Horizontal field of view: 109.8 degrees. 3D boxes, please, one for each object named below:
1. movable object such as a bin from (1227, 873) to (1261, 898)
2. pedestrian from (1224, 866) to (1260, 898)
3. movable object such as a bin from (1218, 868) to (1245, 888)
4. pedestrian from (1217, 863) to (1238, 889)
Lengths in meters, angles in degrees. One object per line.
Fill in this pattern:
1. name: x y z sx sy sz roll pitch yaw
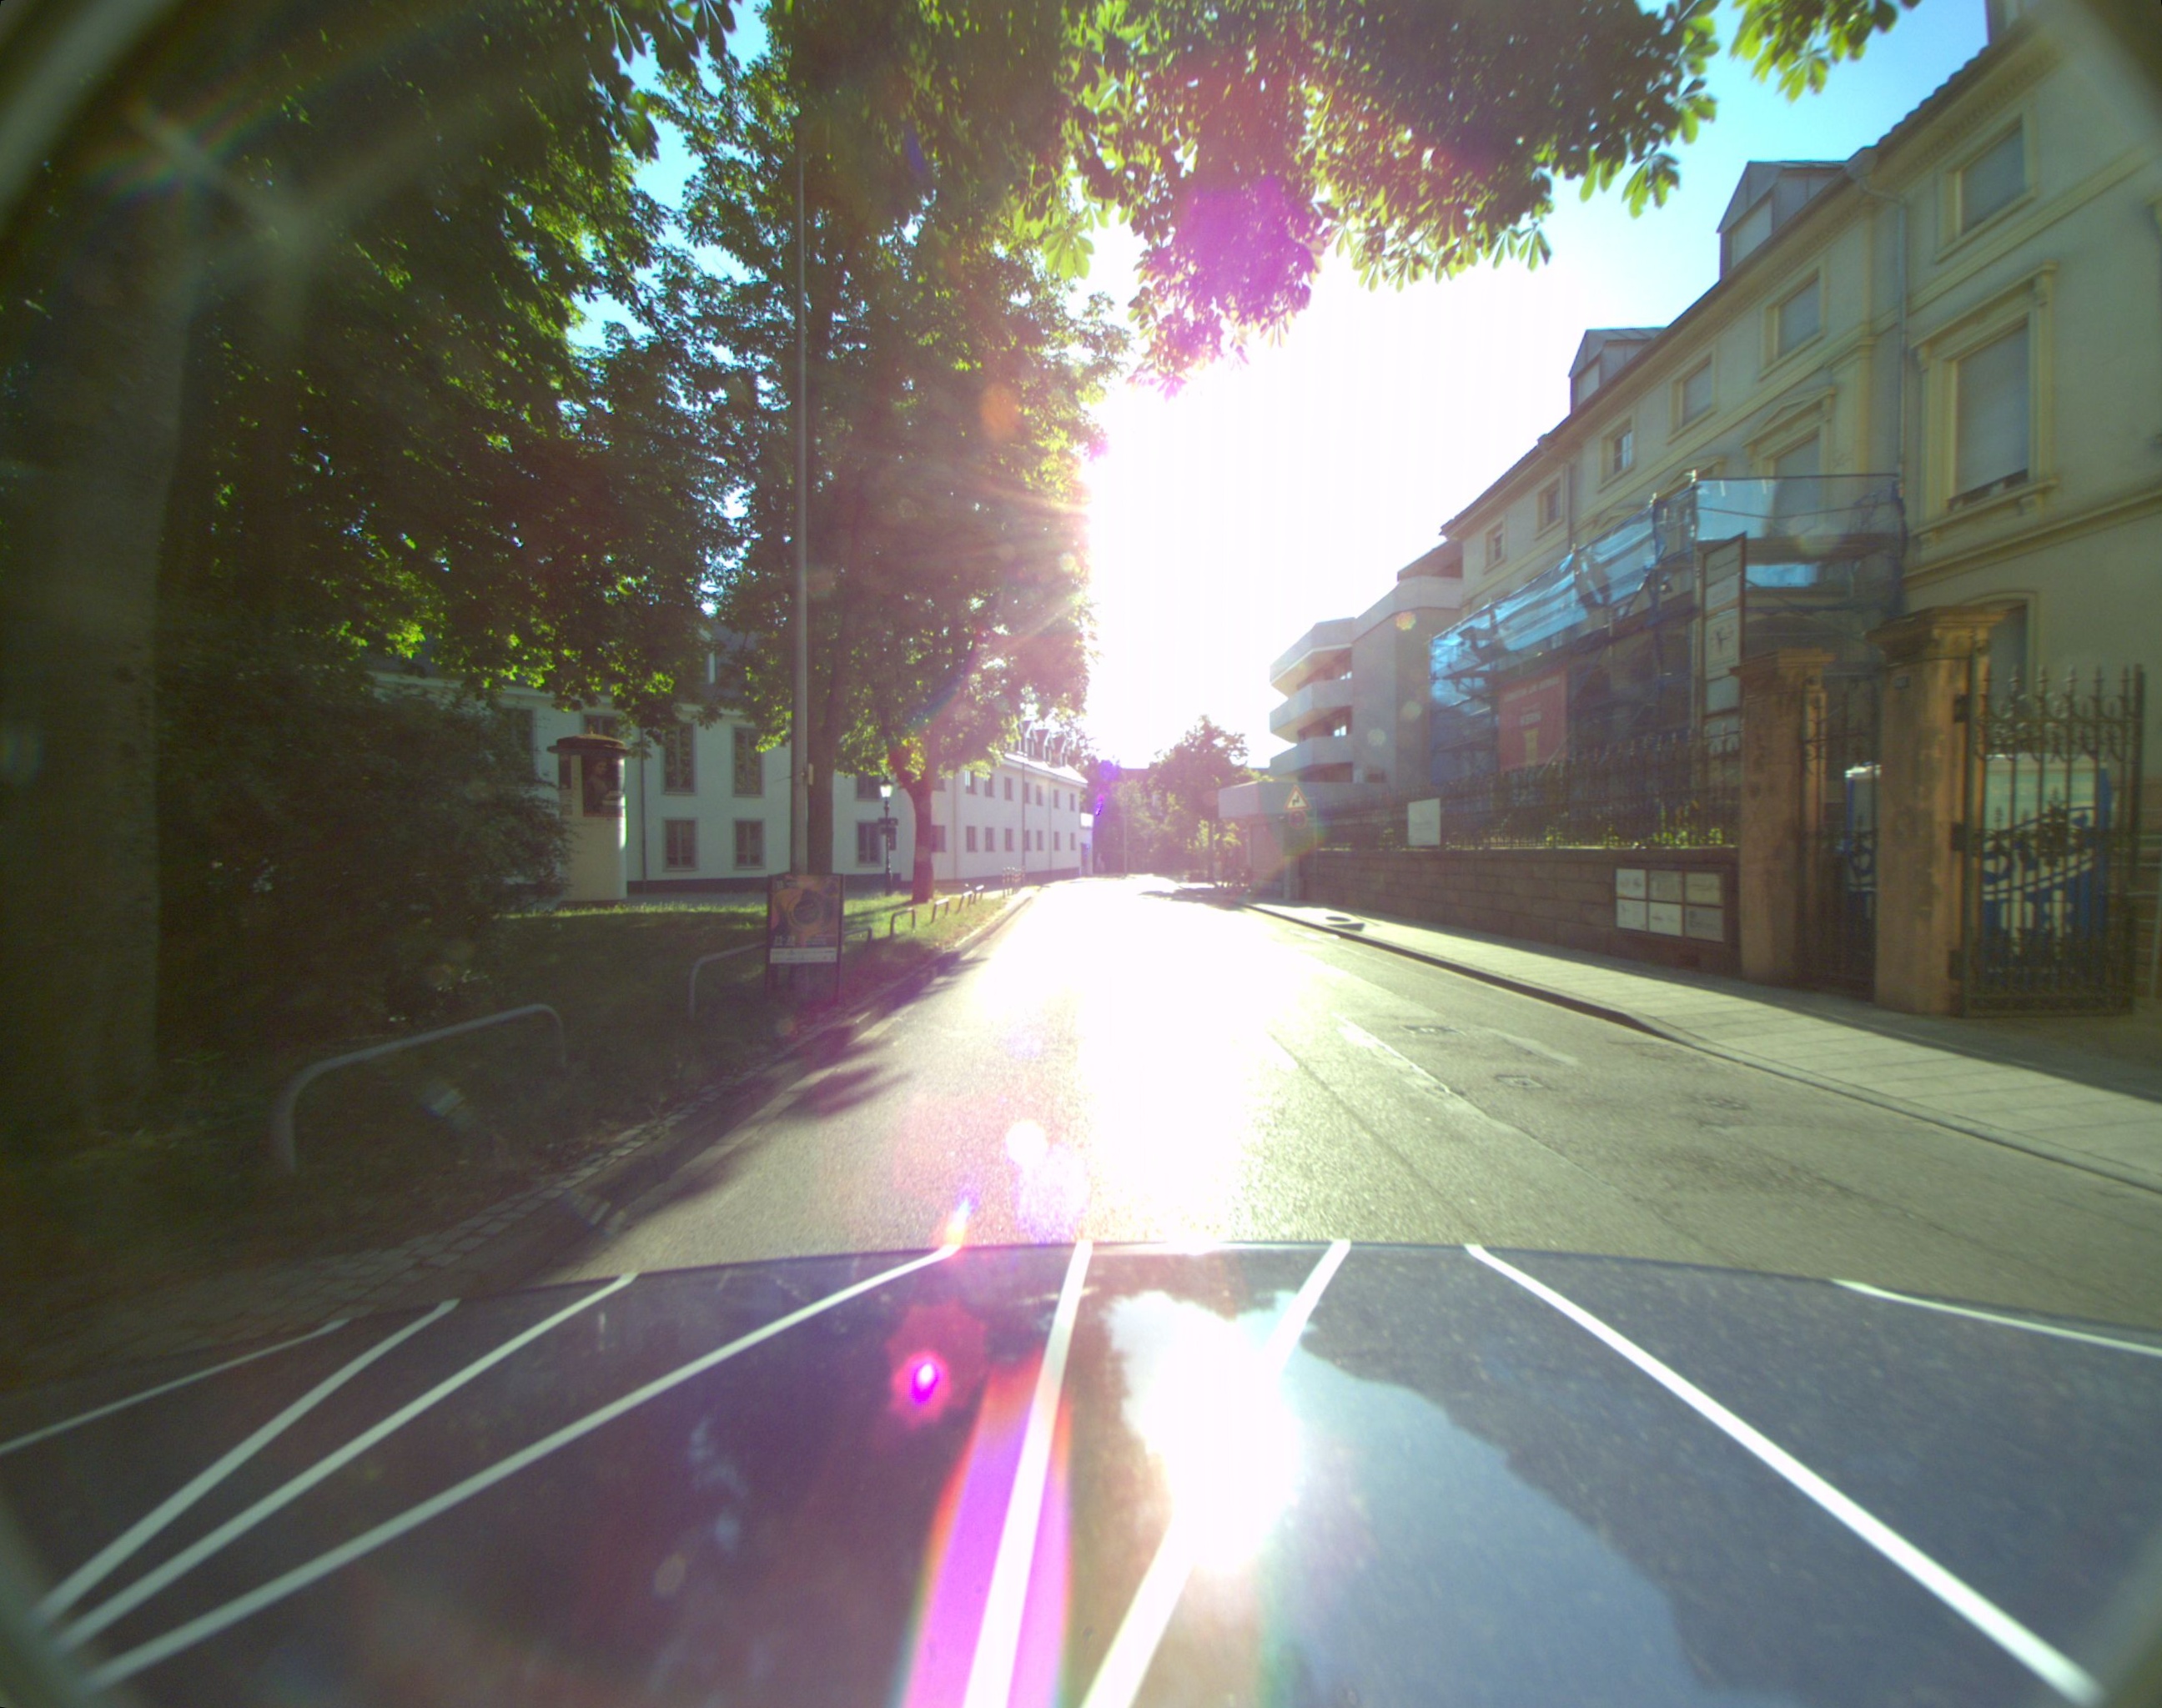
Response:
1. movable object such as a bin: 6.560 1.267 30.596 1.035 0.923 0.842 -2 1 35
2. pedestrian: 6.497 1.122 30.640 1.155 1.222 0.842 -2 1 35
3. movable object such as a bin: 7.326 1.162 37.091 1.038 0.923 0.840 -3 1 -7
4. pedestrian: 7.151 1.066 37.079 0.743 1.179 0.840 -3 1 -7
